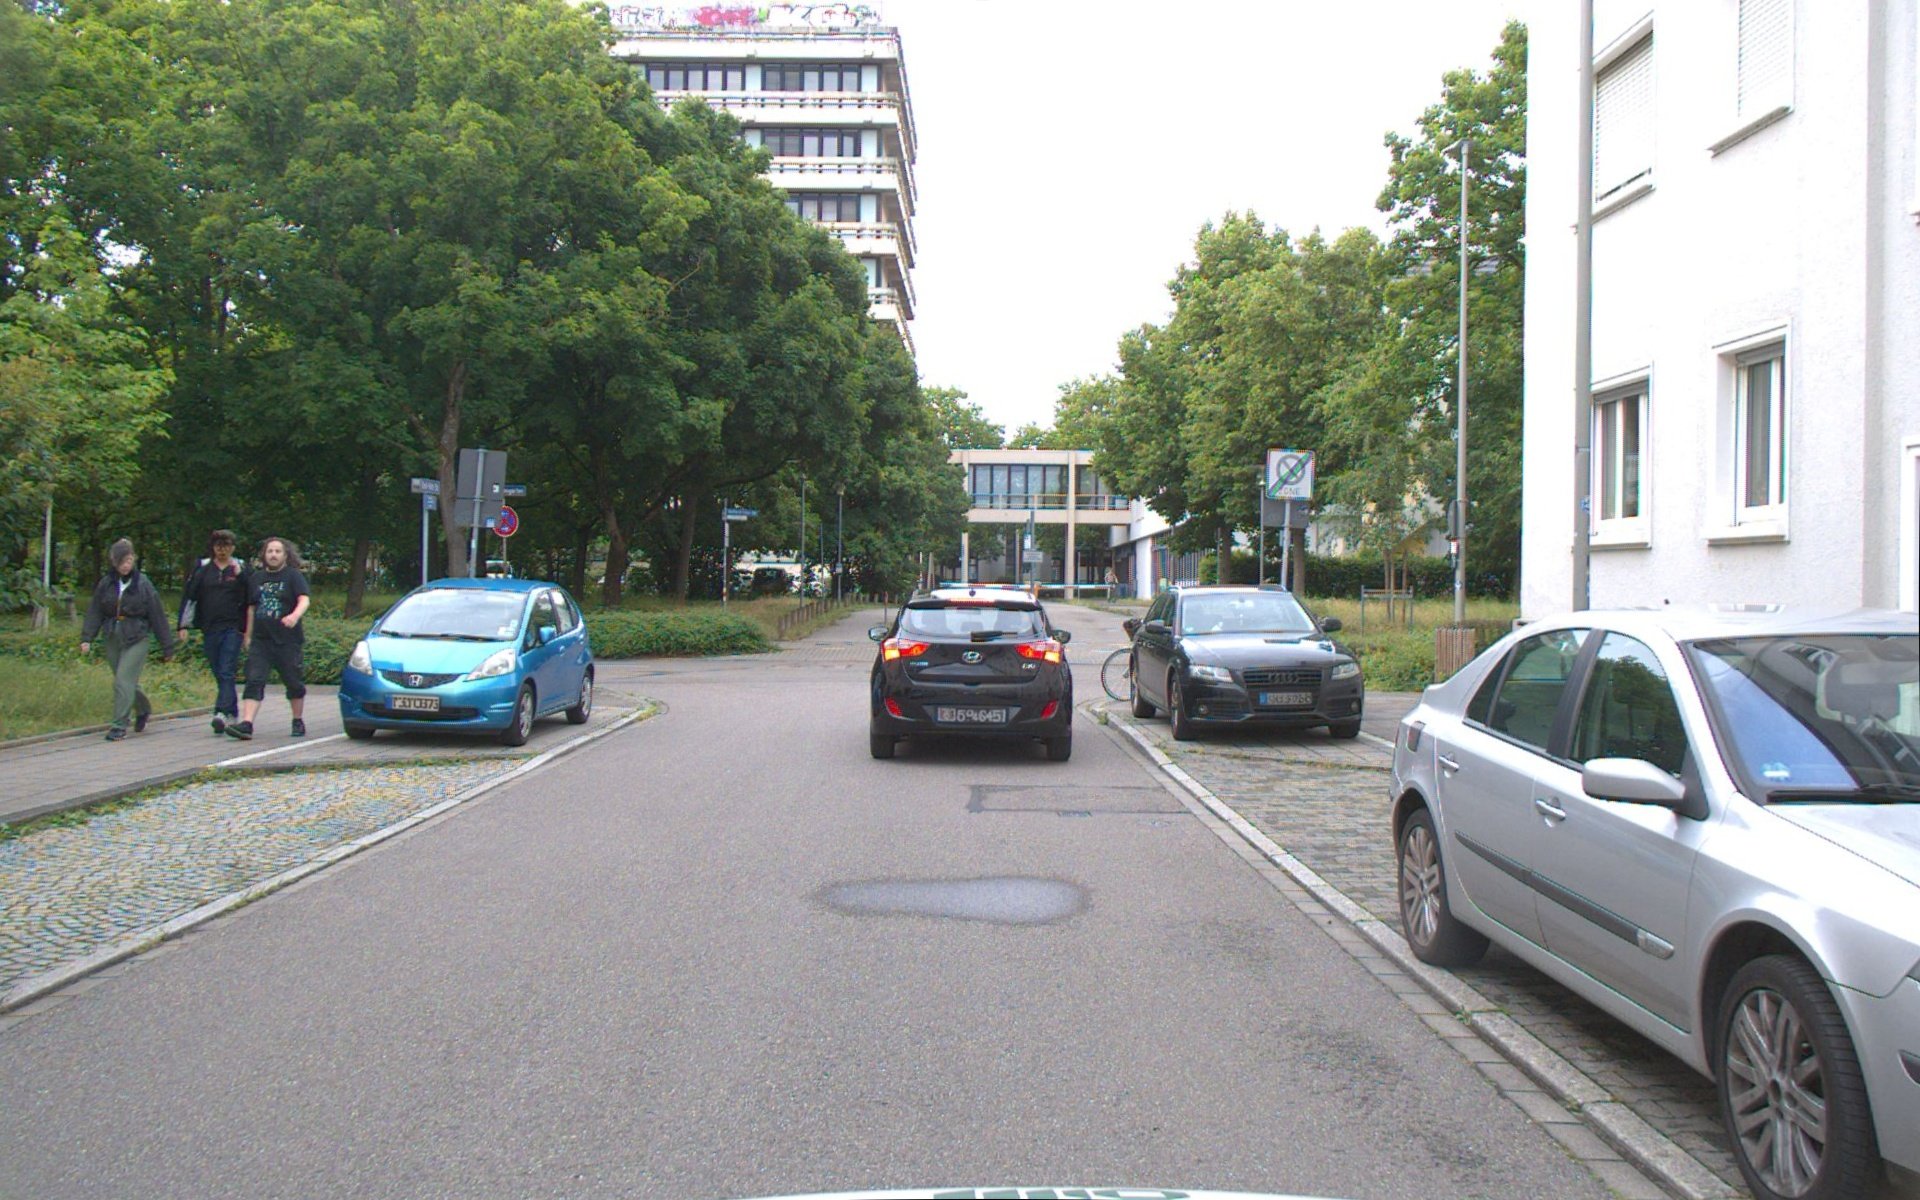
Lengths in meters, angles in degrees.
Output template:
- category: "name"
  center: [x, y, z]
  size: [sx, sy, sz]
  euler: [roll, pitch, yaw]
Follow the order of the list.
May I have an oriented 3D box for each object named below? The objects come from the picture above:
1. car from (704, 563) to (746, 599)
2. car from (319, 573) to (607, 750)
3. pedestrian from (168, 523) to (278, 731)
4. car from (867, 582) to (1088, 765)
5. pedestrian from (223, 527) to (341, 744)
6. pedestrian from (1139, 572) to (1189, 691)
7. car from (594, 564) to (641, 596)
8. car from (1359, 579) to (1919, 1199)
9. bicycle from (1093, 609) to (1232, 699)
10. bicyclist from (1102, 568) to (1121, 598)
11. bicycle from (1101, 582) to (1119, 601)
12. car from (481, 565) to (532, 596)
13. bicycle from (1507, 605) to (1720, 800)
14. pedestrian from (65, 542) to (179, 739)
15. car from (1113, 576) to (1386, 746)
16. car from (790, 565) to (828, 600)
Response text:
- category: "car"
  center: [-12.582, -0.990, 88.728]
  size: [1.954, 1.825, 3.996]
  euler: [0, -1, -4]
- category: "car"
  center: [-4.832, 0.513, 16.660]
  size: [1.695, 1.488, 3.956]
  euler: [3, 1, -1]
- category: "pedestrian"
  center: [-6.851, 0.240, 15.402]
  size: [0.692, 1.886, 0.763]
  euler: [0, 1, -1]
- category: "car"
  center: [0.066, 0.593, 15.507]
  size: [1.809, 1.488, 3.826]
  euler: [1, 0, -3]
- category: "pedestrian"
  center: [-6.199, 0.309, 15.172]
  size: [0.627, 1.896, 0.974]
  euler: [2, 1, -1]
- category: "pedestrian"
  center: [2.747, 0.415, 22.287]
  size: [0.555, 1.576, 0.447]
  euler: [-1, 1, -7]
- category: "car"
  center: [-18.290, -1.066, 88.430]
  size: [1.954, 1.646, 3.997]
  euler: [0, 1, -4]
- category: "car"
  center: [2.718, 0.688, 5.220]
  size: [1.698, 1.488, 4.429]
  euler: [0, 1, -2]
- category: "bicycle"
  center: [2.752, 0.726, 22.512]
  size: [1.779, 1.139, 0.537]
  euler: [-2, 1, -9]
- category: "bicyclist"
  center: [8.669, -0.979, 94.890]
  size: [0.996, 1.673, 0.923]
  euler: [0, 1, 1]
- category: "bicycle"
  center: [8.627, -0.493, 95.070]
  size: [0.849, 1.093, 2.142]
  euler: [0, 1, 1]
- category: "car"
  center: [-24.371, -1.054, 88.918]
  size: [1.880, 1.646, 3.997]
  euler: [0, 1, -4]
- category: "bicycle"
  center: [4.607, 0.674, 11.809]
  size: [0.733, 1.221, 1.895]
  euler: [-2, 1, -1]
- category: "pedestrian"
  center: [-7.388, 0.342, 14.616]
  size: [0.602, 1.686, 0.803]
  euler: [0, 1, -1]
- category: "car"
  center: [2.795, 0.507, 17.075]
  size: [1.823, 1.488, 4.724]
  euler: [-1, 1, -2]
- category: "car"
  center: [-8.080, -0.928, 88.819]
  size: [1.954, 1.792, 3.997]
  euler: [0, 0, -4]
